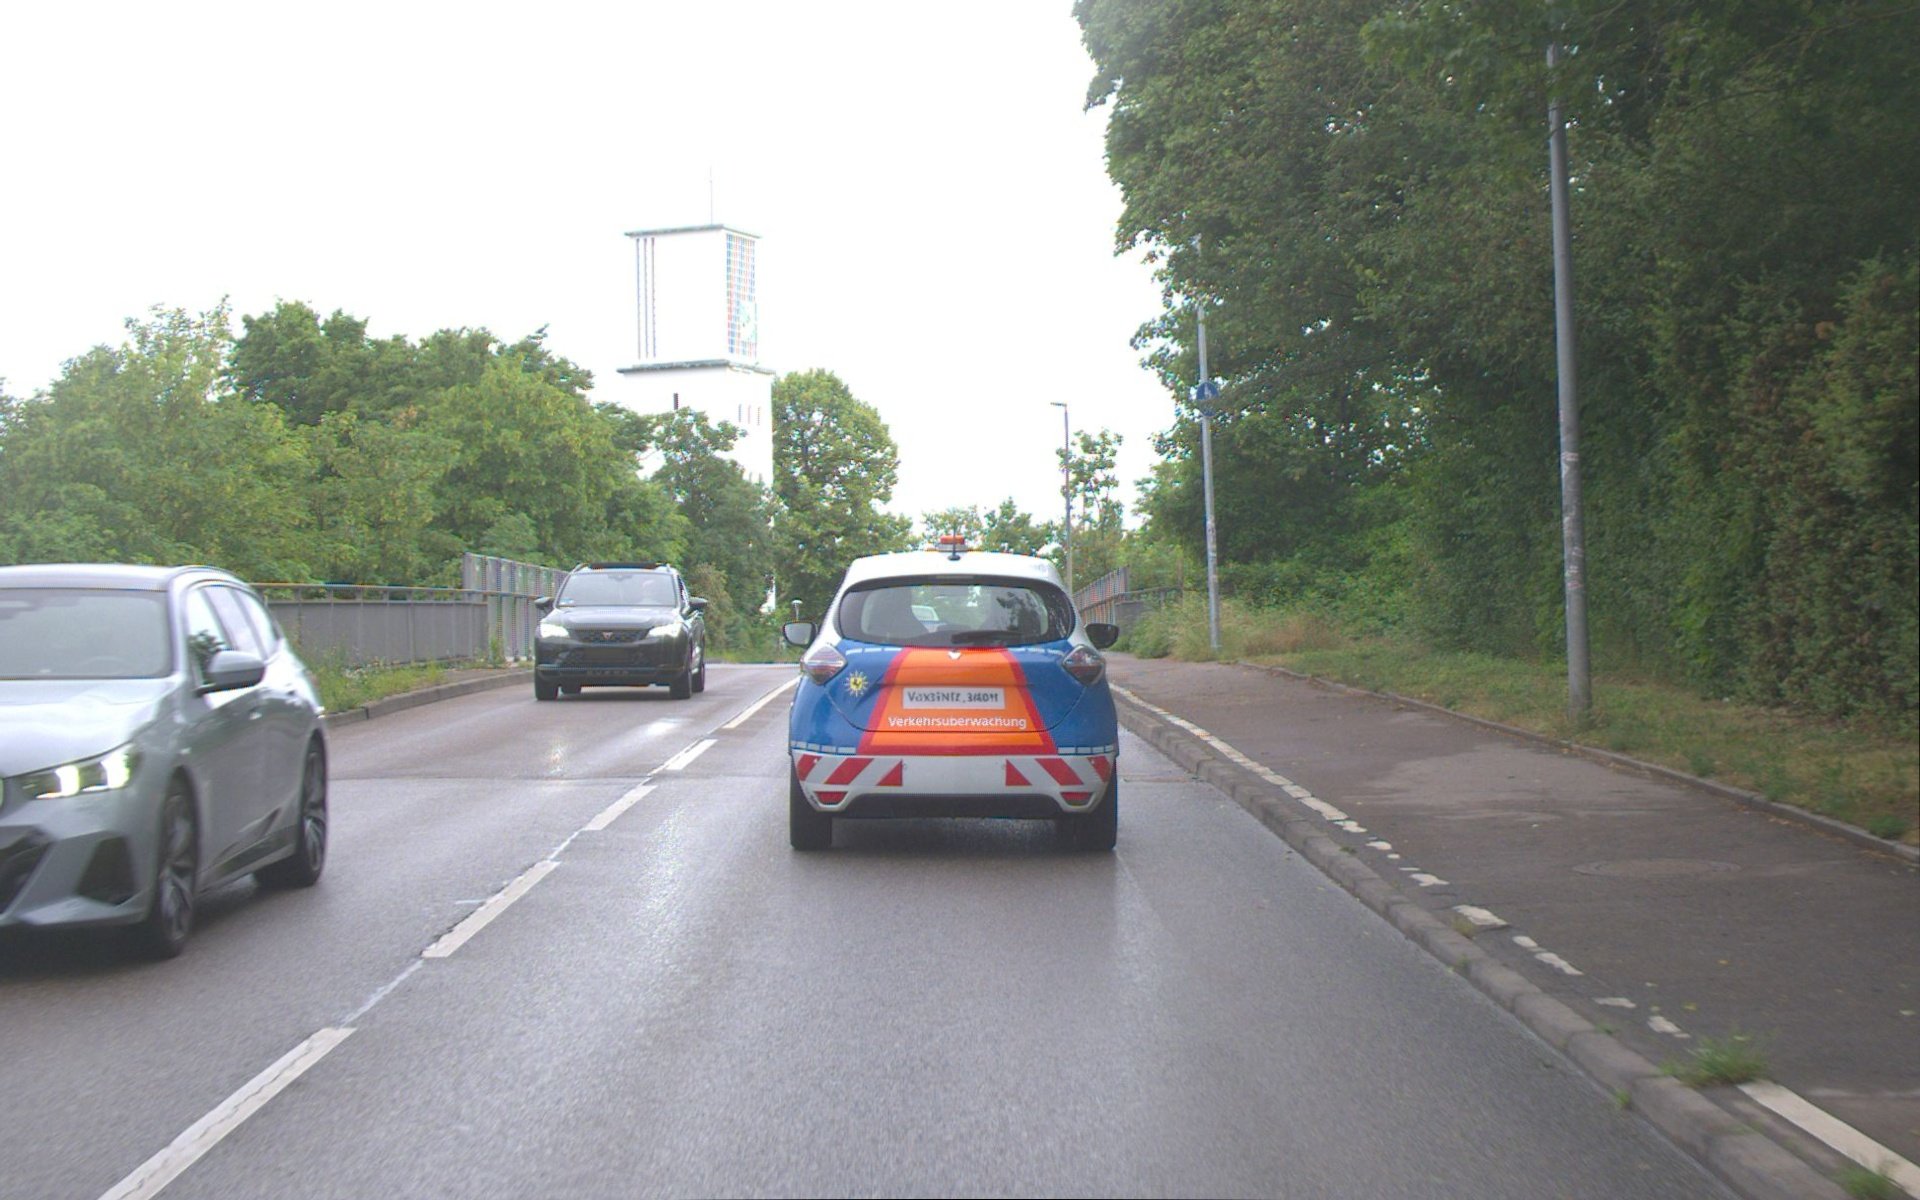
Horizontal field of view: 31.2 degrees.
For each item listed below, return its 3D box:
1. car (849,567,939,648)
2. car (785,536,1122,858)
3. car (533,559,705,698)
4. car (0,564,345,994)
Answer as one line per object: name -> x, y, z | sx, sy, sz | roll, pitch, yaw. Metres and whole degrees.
car -> -1.369, 0.137, 72.035 | 1.802, 1.584, 3.563 | -2, 0, -1
car -> -0.051, 0.488, 18.884 | 1.657, 1.587, 3.568 | -1, 0, -1
car -> -4.072, 0.304, 41.539 | 1.730, 1.580, 4.081 | -1, 1, -1
car -> -3.910, 0.613, 14.458 | 1.861, 1.498, 4.728 | -1, 1, -1
